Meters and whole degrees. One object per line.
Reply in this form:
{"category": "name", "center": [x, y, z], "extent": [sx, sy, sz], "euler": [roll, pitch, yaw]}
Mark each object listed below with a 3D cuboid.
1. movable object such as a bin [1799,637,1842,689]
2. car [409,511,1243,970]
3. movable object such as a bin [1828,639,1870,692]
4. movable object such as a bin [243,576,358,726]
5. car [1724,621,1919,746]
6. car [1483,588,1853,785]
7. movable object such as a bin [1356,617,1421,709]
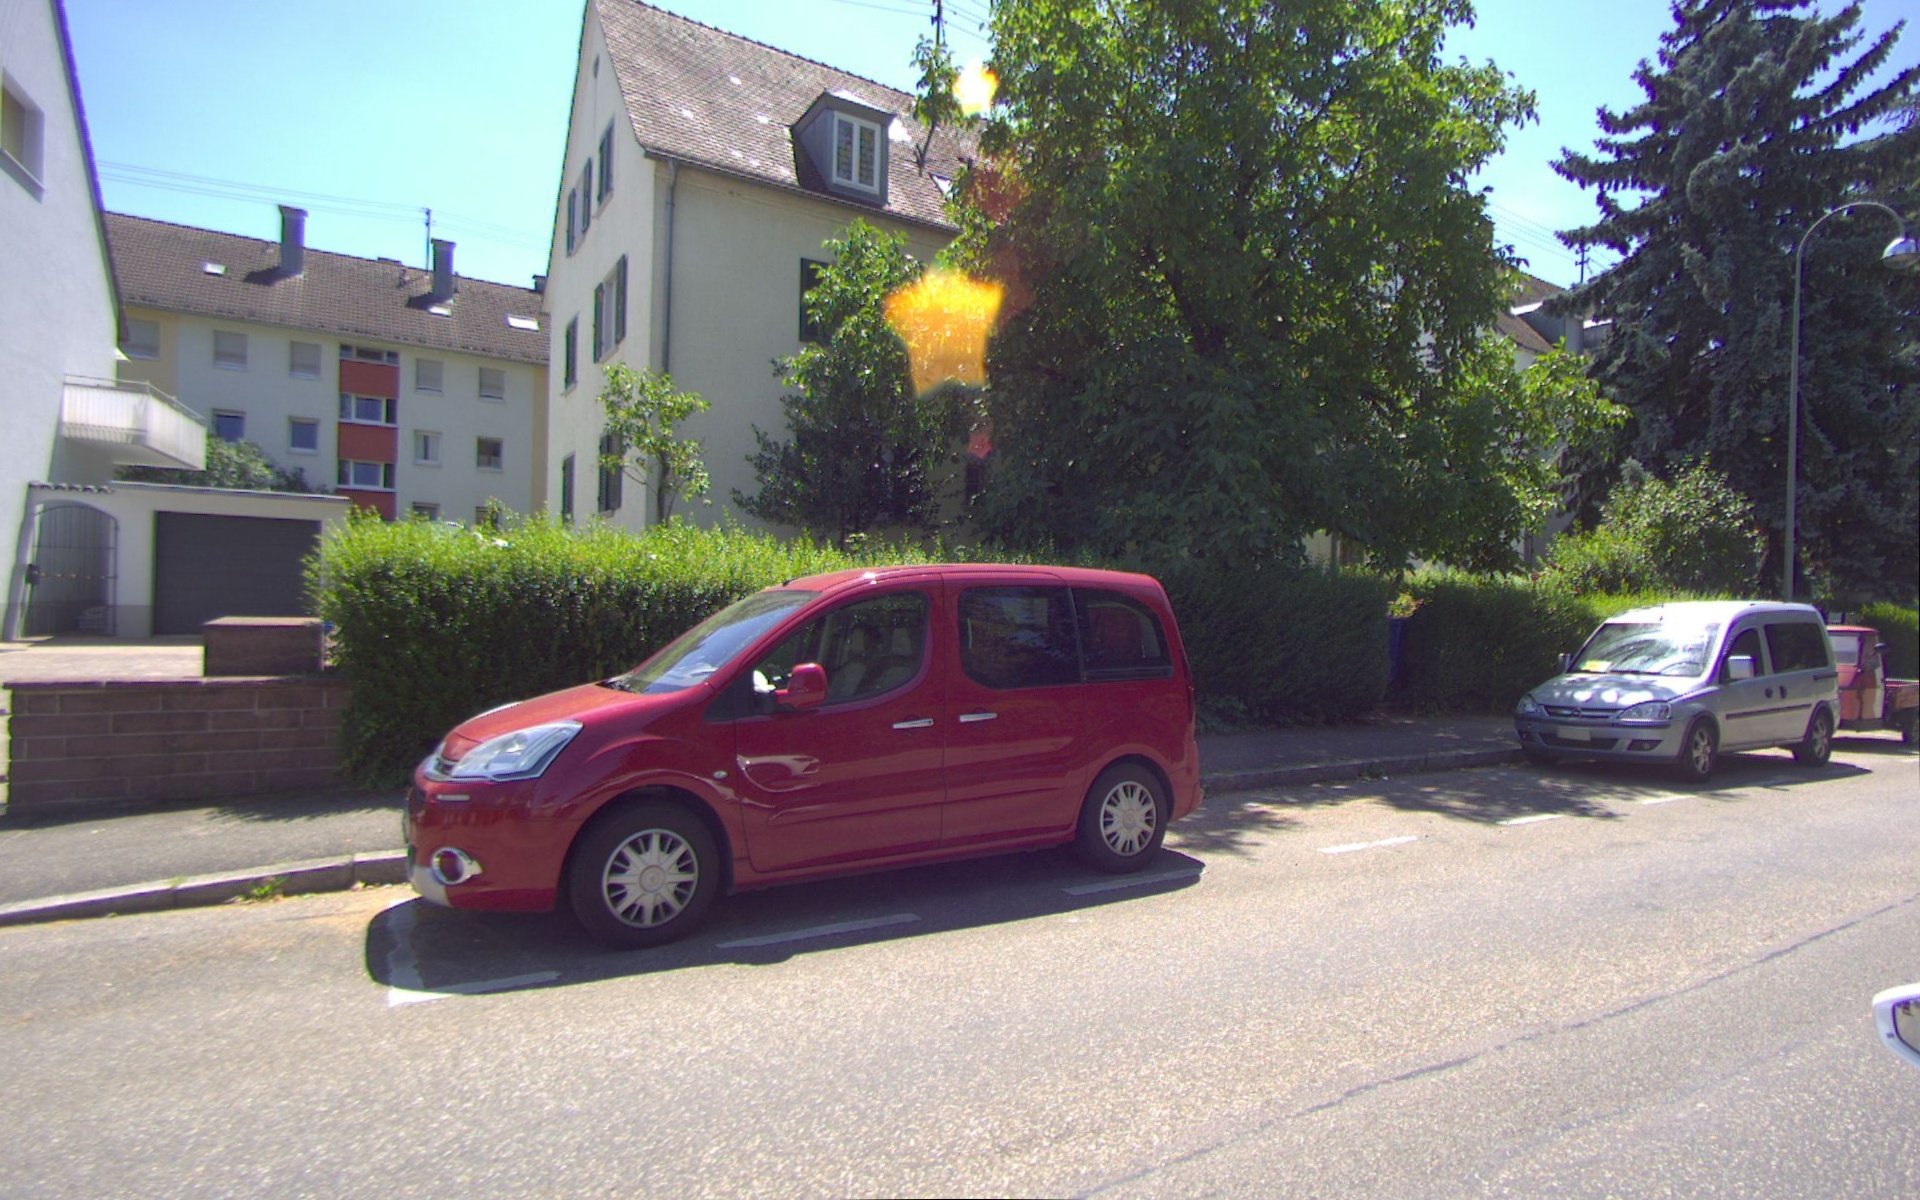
{"category": "movable object such as a bin", "center": [19.236, 1.395, 22.454], "extent": [0.635, 1.097, 0.482], "euler": [0, 4, -33]}
{"category": "car", "center": [-0.602, 0.600, 5.740], "extent": [4.406, 1.750, 1.749], "euler": [1, -2, -31]}
{"category": "movable object such as a bin", "center": [19.515, 1.431, 22.054], "extent": [0.610, 1.080, 0.482], "euler": [0, 4, -33]}
{"category": "movable object such as a bin", "center": [-6.260, 0.471, 9.568], "extent": [0.847, 1.340, 0.600], "euler": [1, 3, -29]}
{"category": "car", "center": [11.853, 1.071, 13.606], "extent": [2.806, 1.523, 1.405], "euler": [1, -2, -30]}
{"category": "car", "center": [7.731, 0.846, 10.868], "extent": [4.303, 1.775, 1.640], "euler": [2, -1, -30]}
{"category": "movable object such as a bin", "center": [6.359, 0.917, 14.909], "extent": [0.718, 1.312, 0.609], "euler": [2, -1, -40]}
